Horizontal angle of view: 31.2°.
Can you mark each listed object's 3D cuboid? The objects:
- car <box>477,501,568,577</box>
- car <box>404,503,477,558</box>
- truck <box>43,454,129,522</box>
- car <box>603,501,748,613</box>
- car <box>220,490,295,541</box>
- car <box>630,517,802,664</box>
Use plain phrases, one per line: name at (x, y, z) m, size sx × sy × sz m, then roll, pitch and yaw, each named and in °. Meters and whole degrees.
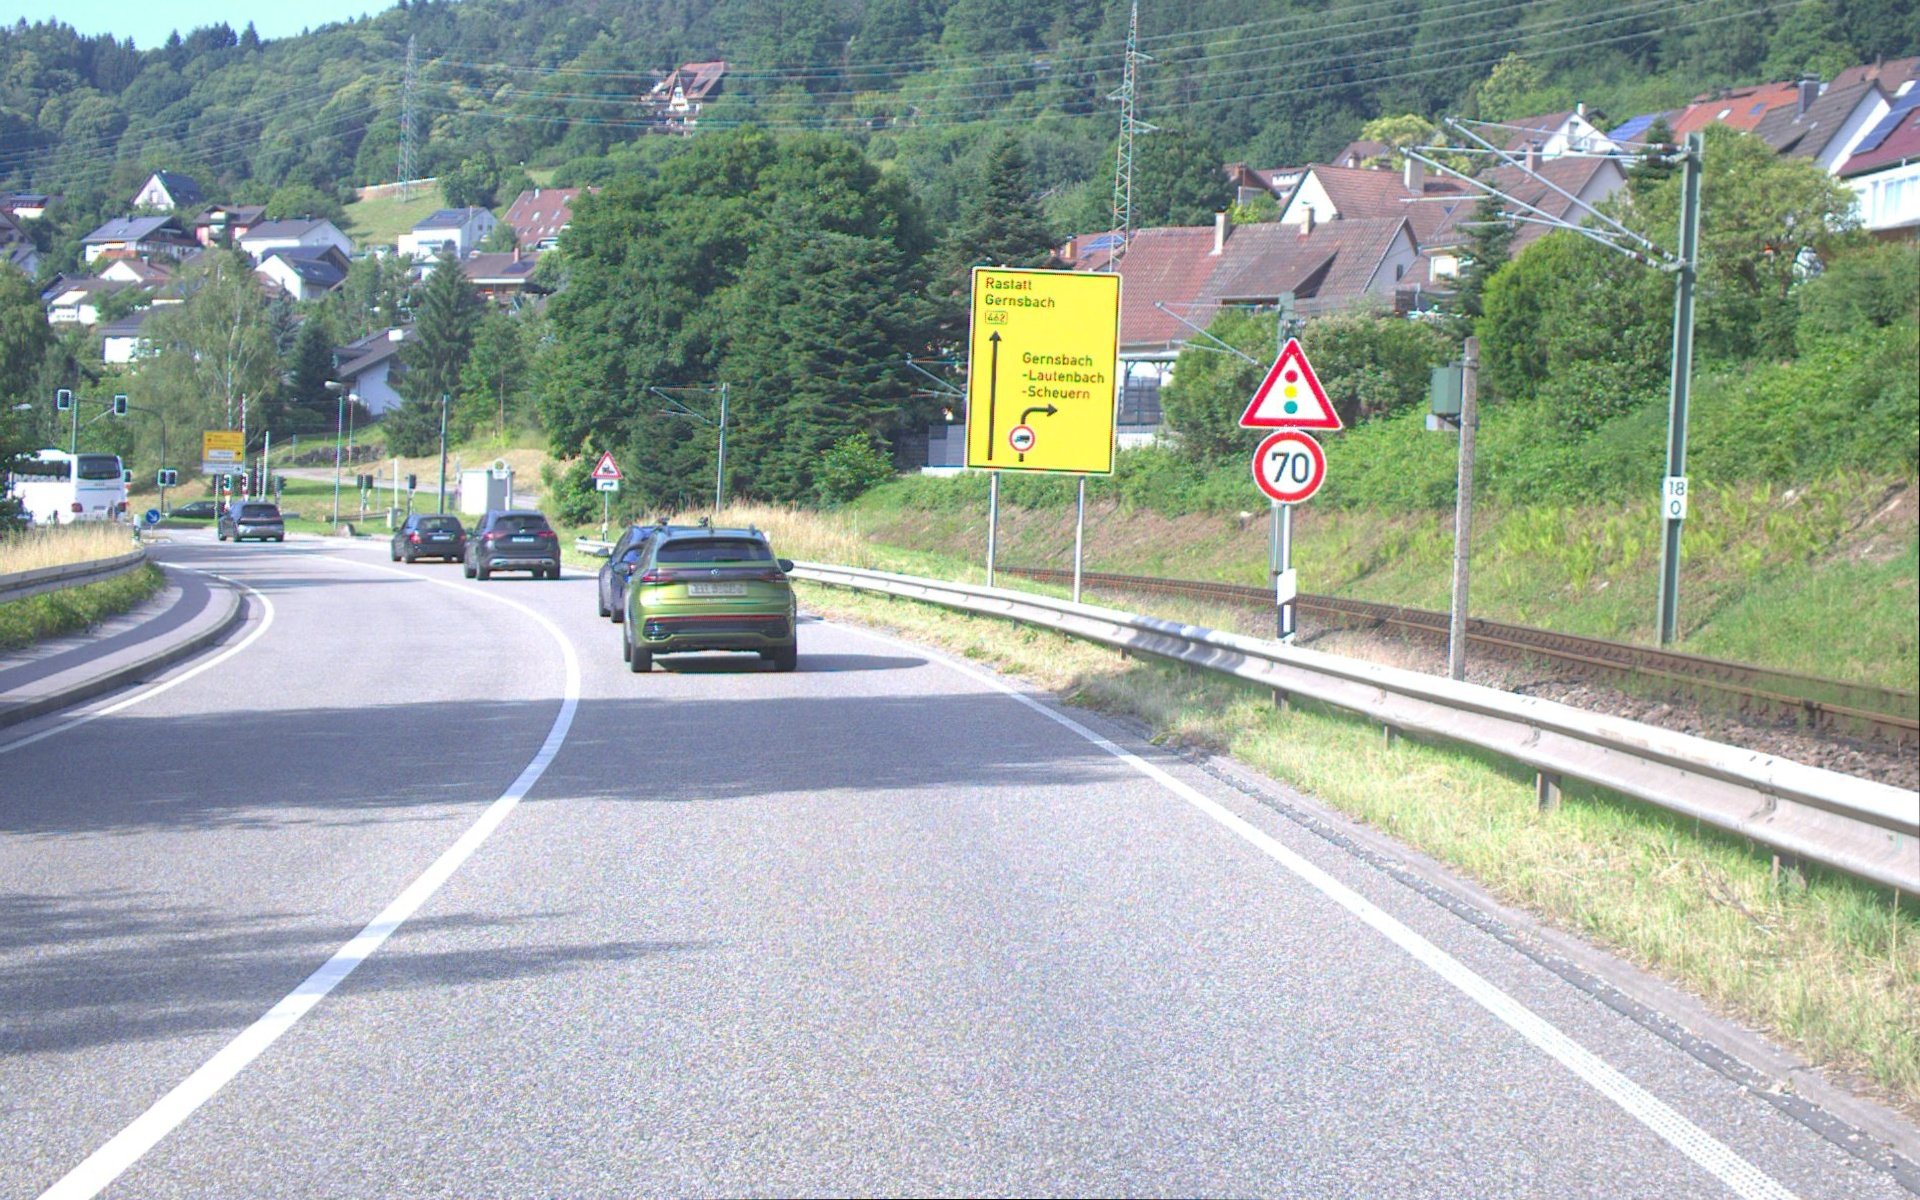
car at (-10.324, -1.460, 81.023) m, size 1.879 × 1.681 × 4.001 m, roll 2°, pitch 1°, yaw -10°
car at (-15.246, -2.048, 100.792) m, size 1.848 × 1.521 × 3.664 m, roll 1°, pitch 2°, yaw -12°
truck at (-41.752, -5.359, 164.158) m, size 2.711 × 3.073 × 6.110 m, roll 0°, pitch 2°, yaw -26°
car at (-4.295, -0.669, 51.460) m, size 1.666 × 1.554 × 4.001 m, roll 2°, pitch 1°, yaw -11°
car at (-27.847, -3.365, 136.208) m, size 2.062 × 1.805 × 4.001 m, roll 3°, pitch 1°, yaw -23°
car at (-2.659, -0.145, 36.829) m, size 1.714 × 1.450 × 4.001 m, roll -1°, pitch 2°, yaw -6°
